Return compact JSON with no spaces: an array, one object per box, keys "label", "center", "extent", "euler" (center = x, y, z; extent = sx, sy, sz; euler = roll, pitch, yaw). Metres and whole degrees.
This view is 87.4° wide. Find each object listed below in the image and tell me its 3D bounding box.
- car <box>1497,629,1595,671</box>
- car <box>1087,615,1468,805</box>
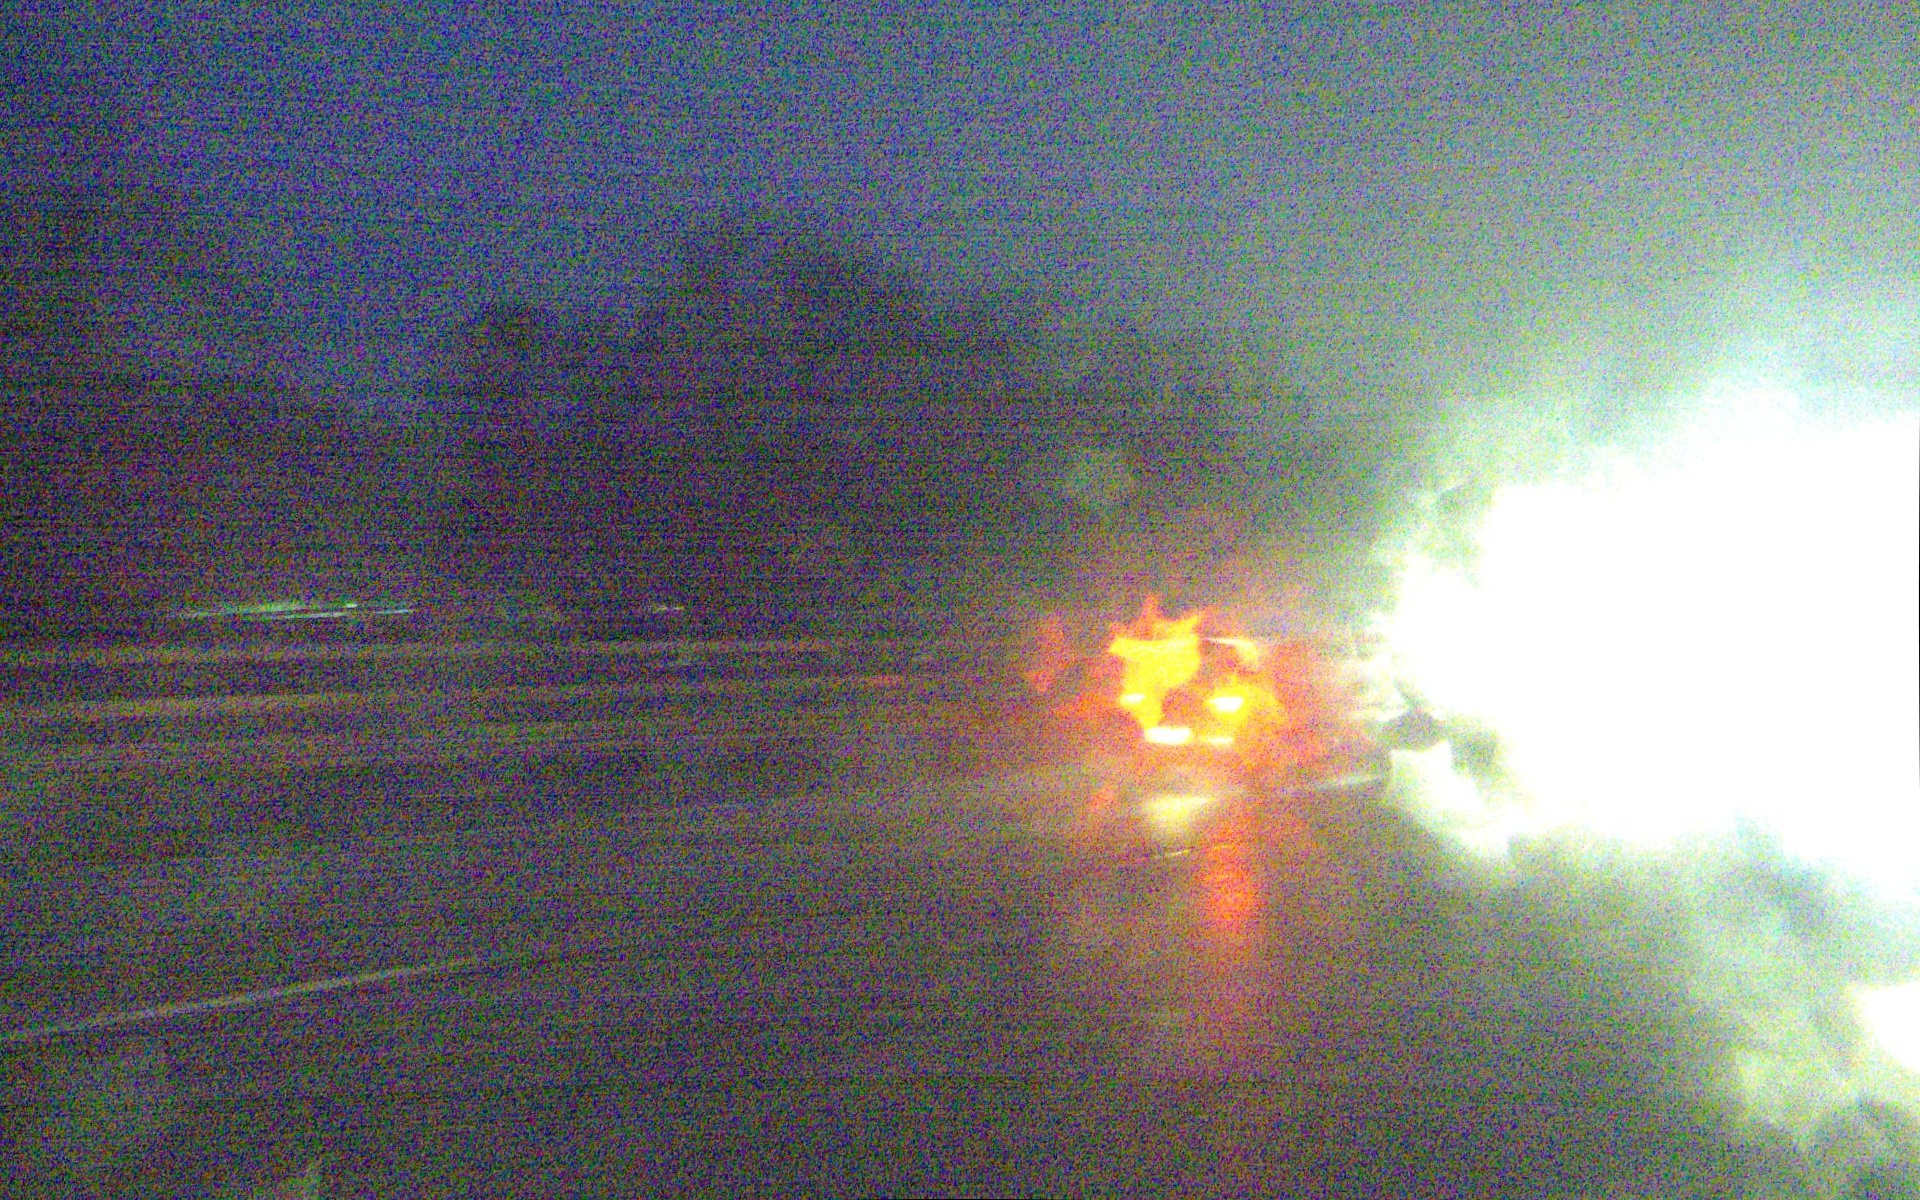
[{"label":"car","center":[22.280,1.877,38.164],"extent":[3.852,1.493,1.773],"euler":[2,-2,-34]},{"label":"car","center":[3.286,0.984,10.204],"extent":[3.807,1.596,1.640],"euler":[1,-3,-33]}]
